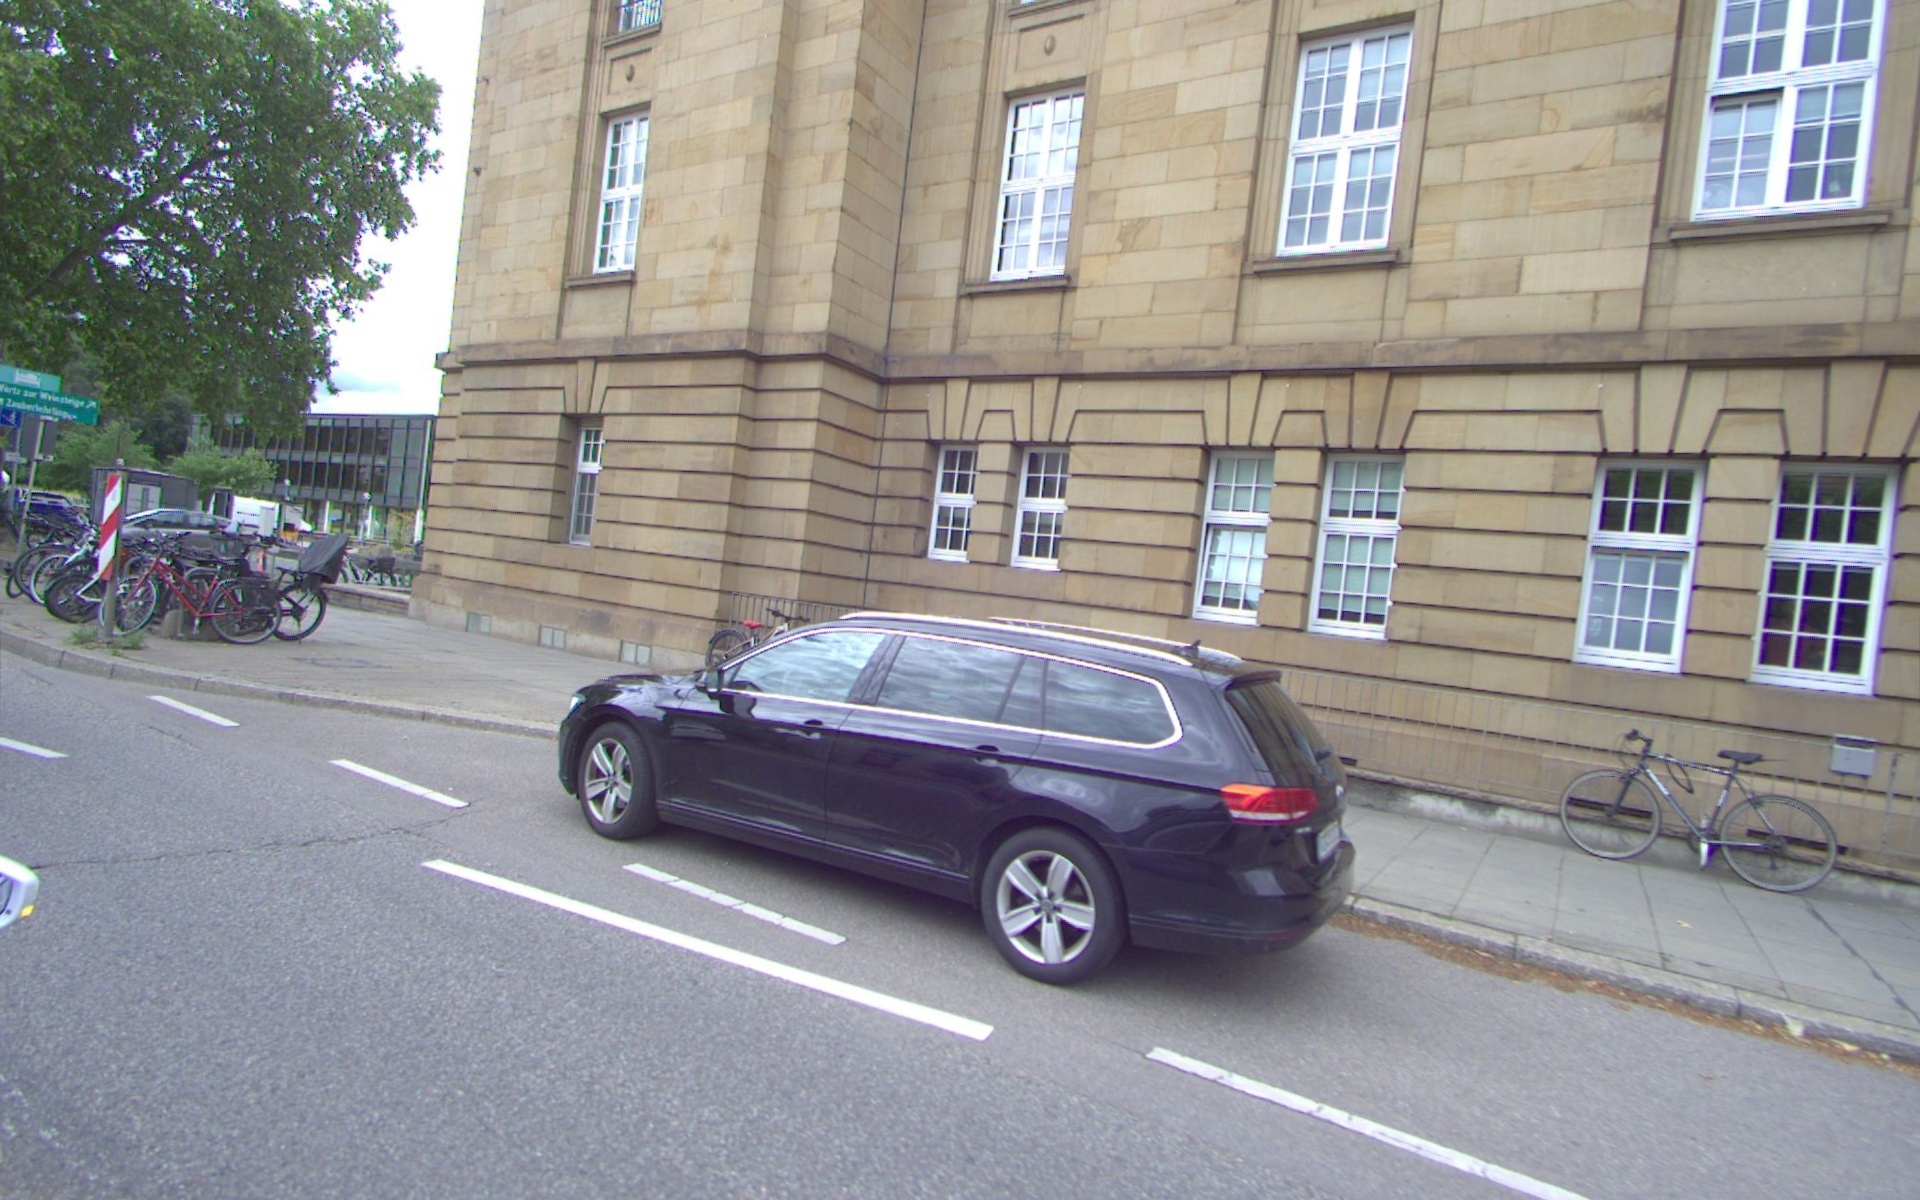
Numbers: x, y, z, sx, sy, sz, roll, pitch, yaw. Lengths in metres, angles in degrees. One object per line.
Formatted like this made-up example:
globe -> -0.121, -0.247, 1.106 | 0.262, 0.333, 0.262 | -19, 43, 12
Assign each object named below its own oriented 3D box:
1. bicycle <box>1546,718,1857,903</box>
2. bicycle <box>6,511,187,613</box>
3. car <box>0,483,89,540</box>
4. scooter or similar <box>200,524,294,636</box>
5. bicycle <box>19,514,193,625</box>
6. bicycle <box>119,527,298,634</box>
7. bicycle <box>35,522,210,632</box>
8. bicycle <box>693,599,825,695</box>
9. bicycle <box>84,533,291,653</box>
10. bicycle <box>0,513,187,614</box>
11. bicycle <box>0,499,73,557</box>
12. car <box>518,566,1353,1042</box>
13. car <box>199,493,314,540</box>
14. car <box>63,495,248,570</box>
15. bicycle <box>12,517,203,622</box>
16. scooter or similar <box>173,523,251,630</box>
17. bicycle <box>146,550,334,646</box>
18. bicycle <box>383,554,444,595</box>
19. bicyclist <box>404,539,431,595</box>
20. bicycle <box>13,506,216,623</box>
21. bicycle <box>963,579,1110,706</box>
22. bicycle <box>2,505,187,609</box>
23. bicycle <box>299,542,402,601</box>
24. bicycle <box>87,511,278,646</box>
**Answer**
bicycle -> 5.652, 1.576, 7.789 | 1.828, 1.041, 0.222 | 7, -1, 32
bicycle -> -11.578, -0.490, 13.535 | 0.420, 1.104, 1.725 | 7, -2, 44
car -> -33.655, -3.266, 36.698 | 3.961, 1.571, 1.762 | 8, 1, 34
scooter or similar -> -9.151, -0.259, 12.906 | 1.131, 1.293, 0.562 | 7, -1, 38
bicycle -> -9.966, -0.311, 11.822 | 0.400, 1.143, 1.616 | 7, -1, 6
bicycle -> -8.876, -0.207, 11.929 | 0.430, 1.040, 1.561 | 7, -2, 43
bicycle -> -9.863, -0.234, 11.930 | 0.461, 1.143, 1.616 | 7, -1, 6
bicycle -> -2.617, 0.592, 12.983 | 1.930, 1.010, 0.240 | 6, 0, 32
bicycle -> -8.357, -0.061, 10.947 | 1.655, 1.087, 0.579 | 8, -1, -39
bicycle -> -11.993, -0.487, 13.961 | 0.657, 1.104, 1.854 | 7, -2, 45
bicycle -> -23.067, -1.798, 24.690 | 0.484, 1.235, 1.786 | 7, 0, 35
car -> -0.257, 0.778, 5.619 | 4.252, 1.505, 1.790 | 6, 1, 30
car -> -49.464, -5.865, 70.884 | 2.363, 2.288, 6.112 | 7, -1, 34
car -> -23.690, -1.948, 29.751 | 1.652, 1.587, 3.841 | 7, -1, 32
bicycle -> -10.987, -0.372, 13.017 | 0.566, 1.104, 1.727 | 7, -2, 40
scooter or similar -> -9.459, -0.308, 12.709 | 1.294, 1.238, 0.425 | 6, -2, 42
bicycle -> -8.539, -0.011, 11.969 | 1.721, 0.928, 0.607 | 7, -1, -40
bicycle -> -17.889, -0.829, 32.942 | 0.435, 1.145, 1.754 | 7, 0, 24
bicyclist -> -17.960, -1.094, 33.318 | 0.466, 1.770, 0.437 | 7, 1, 25
bicycle -> -10.630, -0.413, 12.725 | 0.594, 1.223, 1.762 | 7, -1, 29
bicycle -> 0.798, 0.438, 10.820 | 1.513, 1.196, 0.276 | 6, -1, 34
bicycle -> -11.316, -0.537, 13.200 | 0.376, 1.104, 1.725 | 7, -2, 44
bicycle -> -14.131, -0.645, 23.376 | 0.382, 1.139, 2.014 | 7, -1, 31
bicycle -> -8.638, -0.218, 11.236 | 1.536, 1.271, 0.537 | 9, -1, -40
